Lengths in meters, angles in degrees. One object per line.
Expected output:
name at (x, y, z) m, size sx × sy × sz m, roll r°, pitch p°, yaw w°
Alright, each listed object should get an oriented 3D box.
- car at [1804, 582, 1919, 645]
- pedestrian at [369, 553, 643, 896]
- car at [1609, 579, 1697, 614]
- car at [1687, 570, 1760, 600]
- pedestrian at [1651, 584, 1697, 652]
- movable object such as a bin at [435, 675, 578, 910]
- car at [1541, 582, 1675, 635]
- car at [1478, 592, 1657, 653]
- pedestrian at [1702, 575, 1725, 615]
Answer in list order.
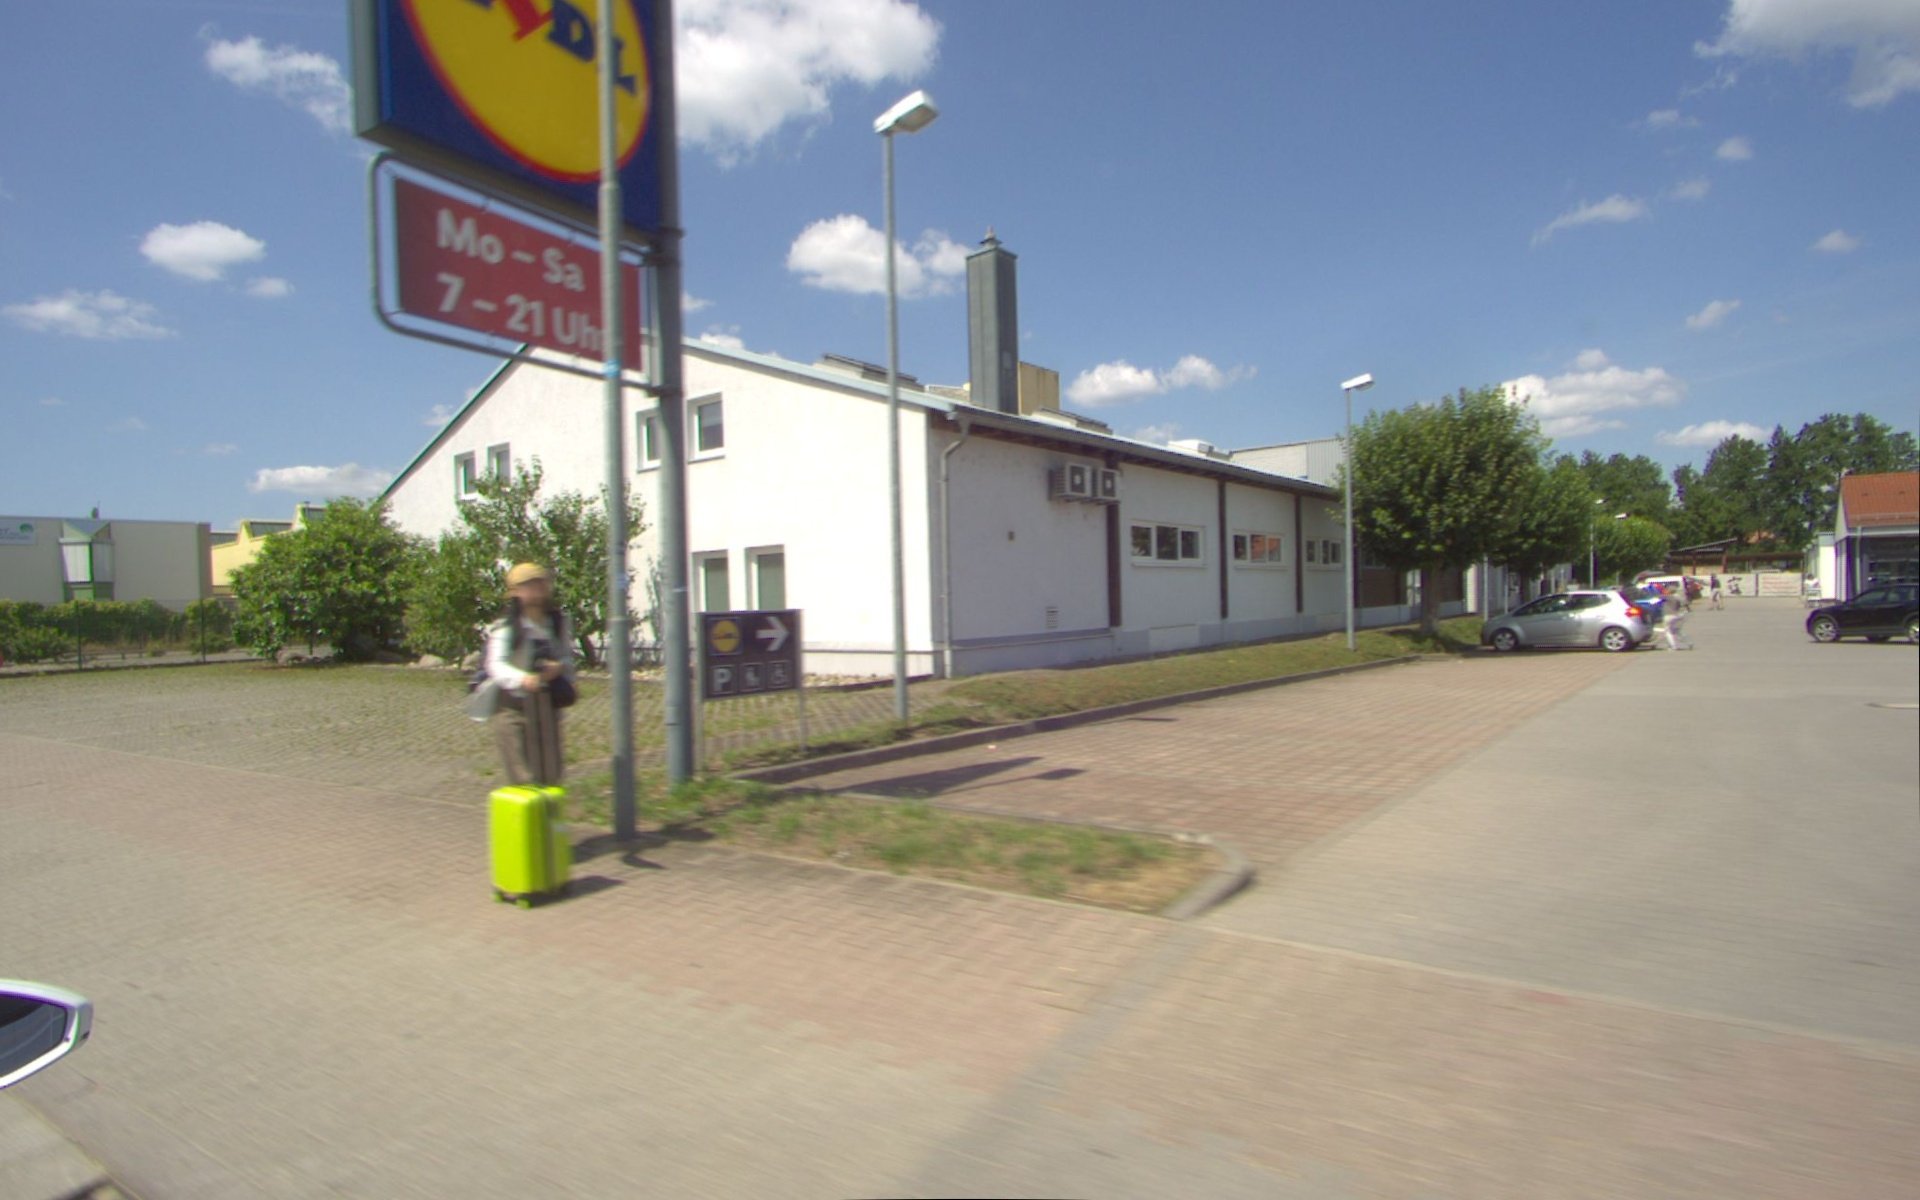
car at (24.167, 0.321, 25.415) m, size 1.961 × 1.514 × 3.999 m, roll -1°, pitch 0°, yaw -4°
pedestrian at (-2.426, 0.598, 5.362) m, size 1.192 × 1.623 × 0.760 m, roll -1°, pitch 1°, yaw 30°
car at (38.716, -0.172, 56.044) m, size 3.929 × 1.790 × 1.808 m, roll -3°, pitch -1°, yaw 35°
car at (53.700, -1.023, 70.511) m, size 3.946 × 2.040 × 1.988 m, roll -1°, pitch 0°, yaw 35°
pedestrian at (17.980, 0.457, 25.216) m, size 0.724 × 1.659 × 0.774 m, roll -3°, pitch 0°, yaw -45°
movable object such as a bin at (-2.185, 0.897, 4.836) m, size 0.491 × 1.043 × 0.374 m, roll -2°, pitch 1°, yaw 29°
car at (24.138, 0.320, 37.354) m, size 3.941 × 1.730 × 1.879 m, roll -4°, pitch -1°, yaw 39°
car at (16.224, 0.571, 26.833) m, size 3.855 × 1.518 × 1.879 m, roll -1°, pitch 0°, yaw 41°
pedestrian at (40.631, -0.262, 53.989) m, size 0.900 × 2.134 × 0.866 m, roll -1°, pitch 1°, yaw 32°
